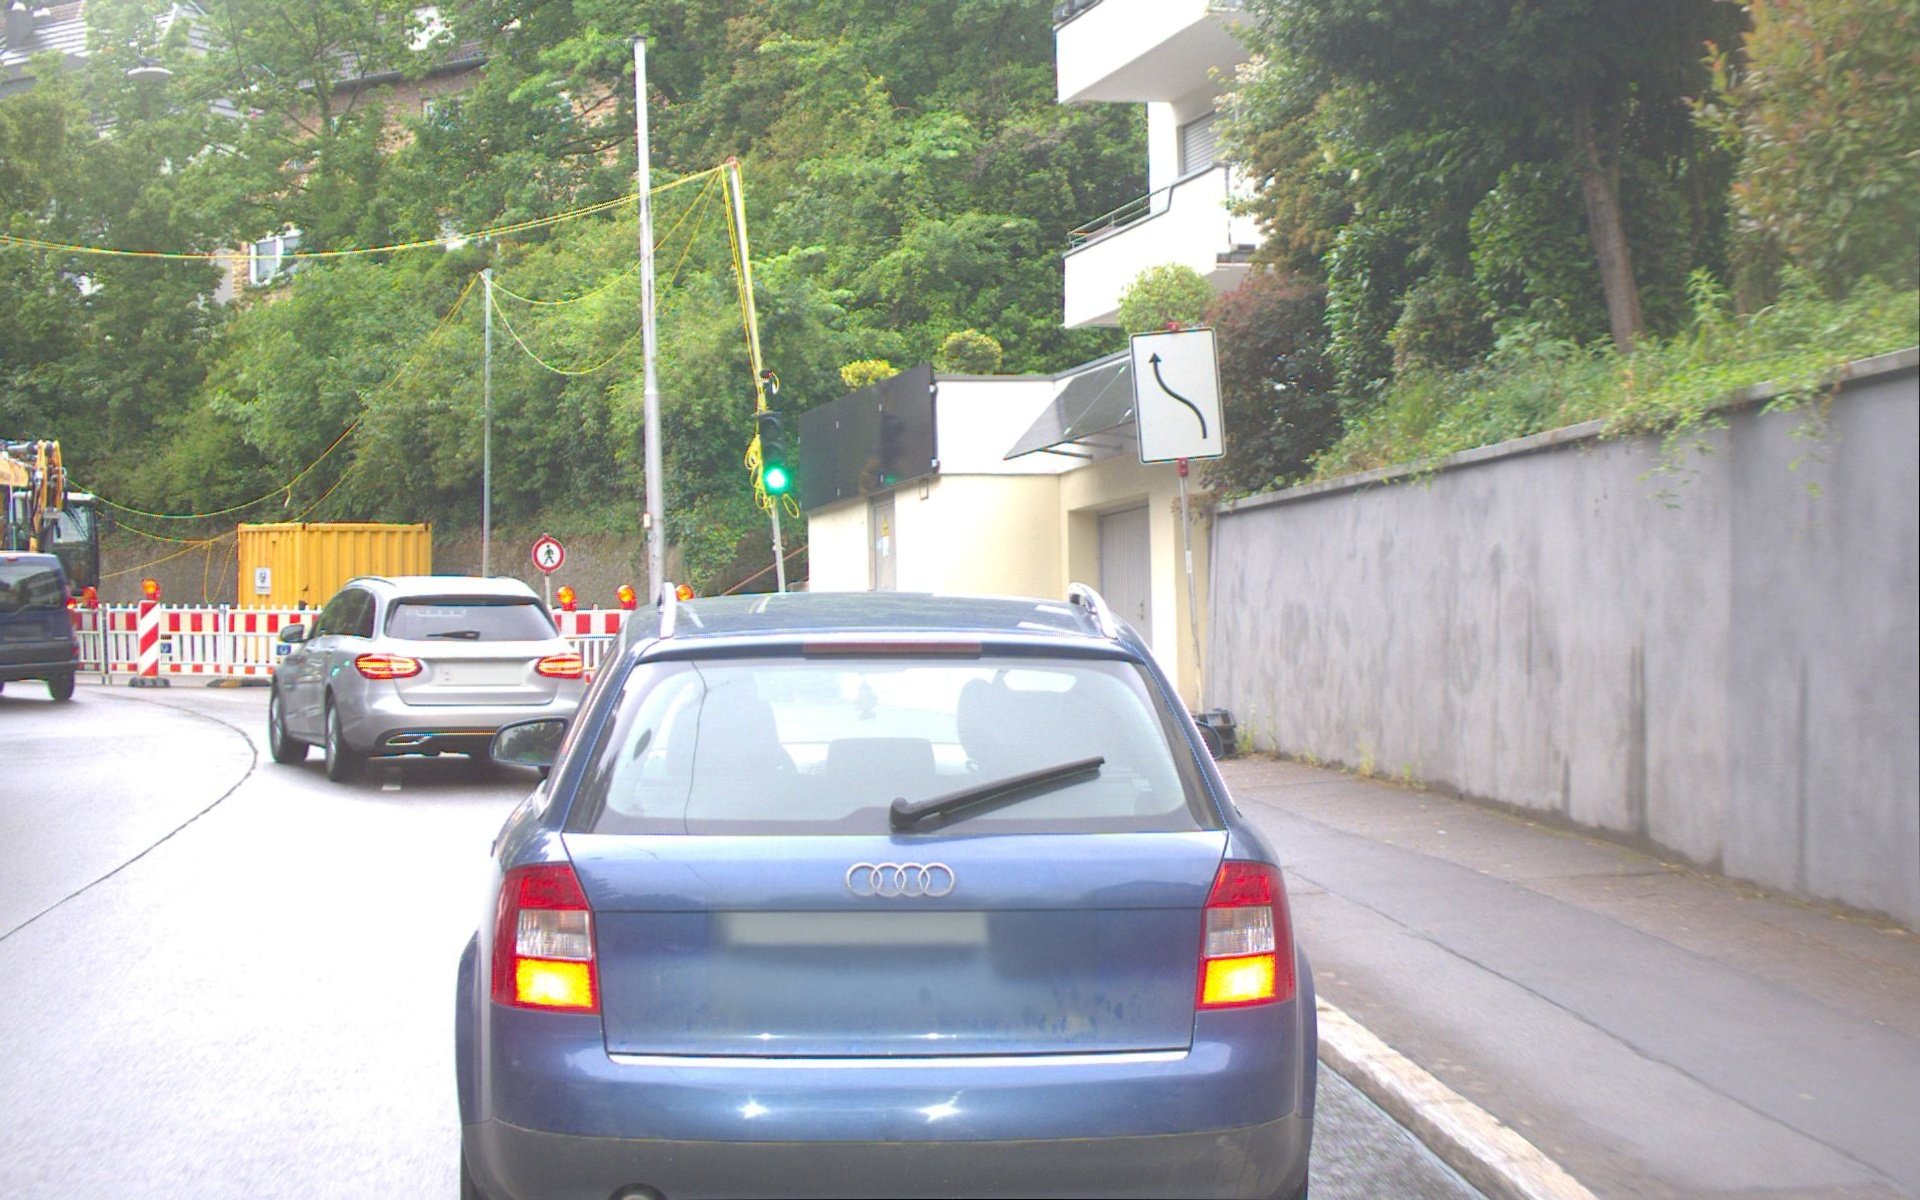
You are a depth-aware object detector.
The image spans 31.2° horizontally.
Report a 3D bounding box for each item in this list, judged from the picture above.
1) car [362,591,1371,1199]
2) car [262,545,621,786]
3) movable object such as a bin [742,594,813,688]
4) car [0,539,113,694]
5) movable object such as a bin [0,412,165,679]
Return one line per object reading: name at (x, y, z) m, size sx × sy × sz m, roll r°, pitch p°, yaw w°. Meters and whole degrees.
car at (-0.165, 0.721, 8.099) m, size 1.786 × 1.437 × 3.964 m, roll 1°, pitch 1°, yaw 0°
car at (-3.968, 0.407, 25.709) m, size 1.926 × 1.612 × 4.322 m, roll -1°, pitch 1°, yaw -18°
movable object such as a bin at (-2.077, 0.461, 39.154) m, size 0.719 × 1.028 × 0.592 m, roll -2°, pitch 1°, yaw -9°
car at (-12.164, 0.219, 42.493) m, size 1.994 × 1.787 × 4.000 m, roll -3°, pitch 1°, yaw -33°
movable object such as a bin at (-15.157, -0.886, 55.195) m, size 2.819 × 4.000 × 7.328 m, roll -1°, pitch 1°, yaw -28°
